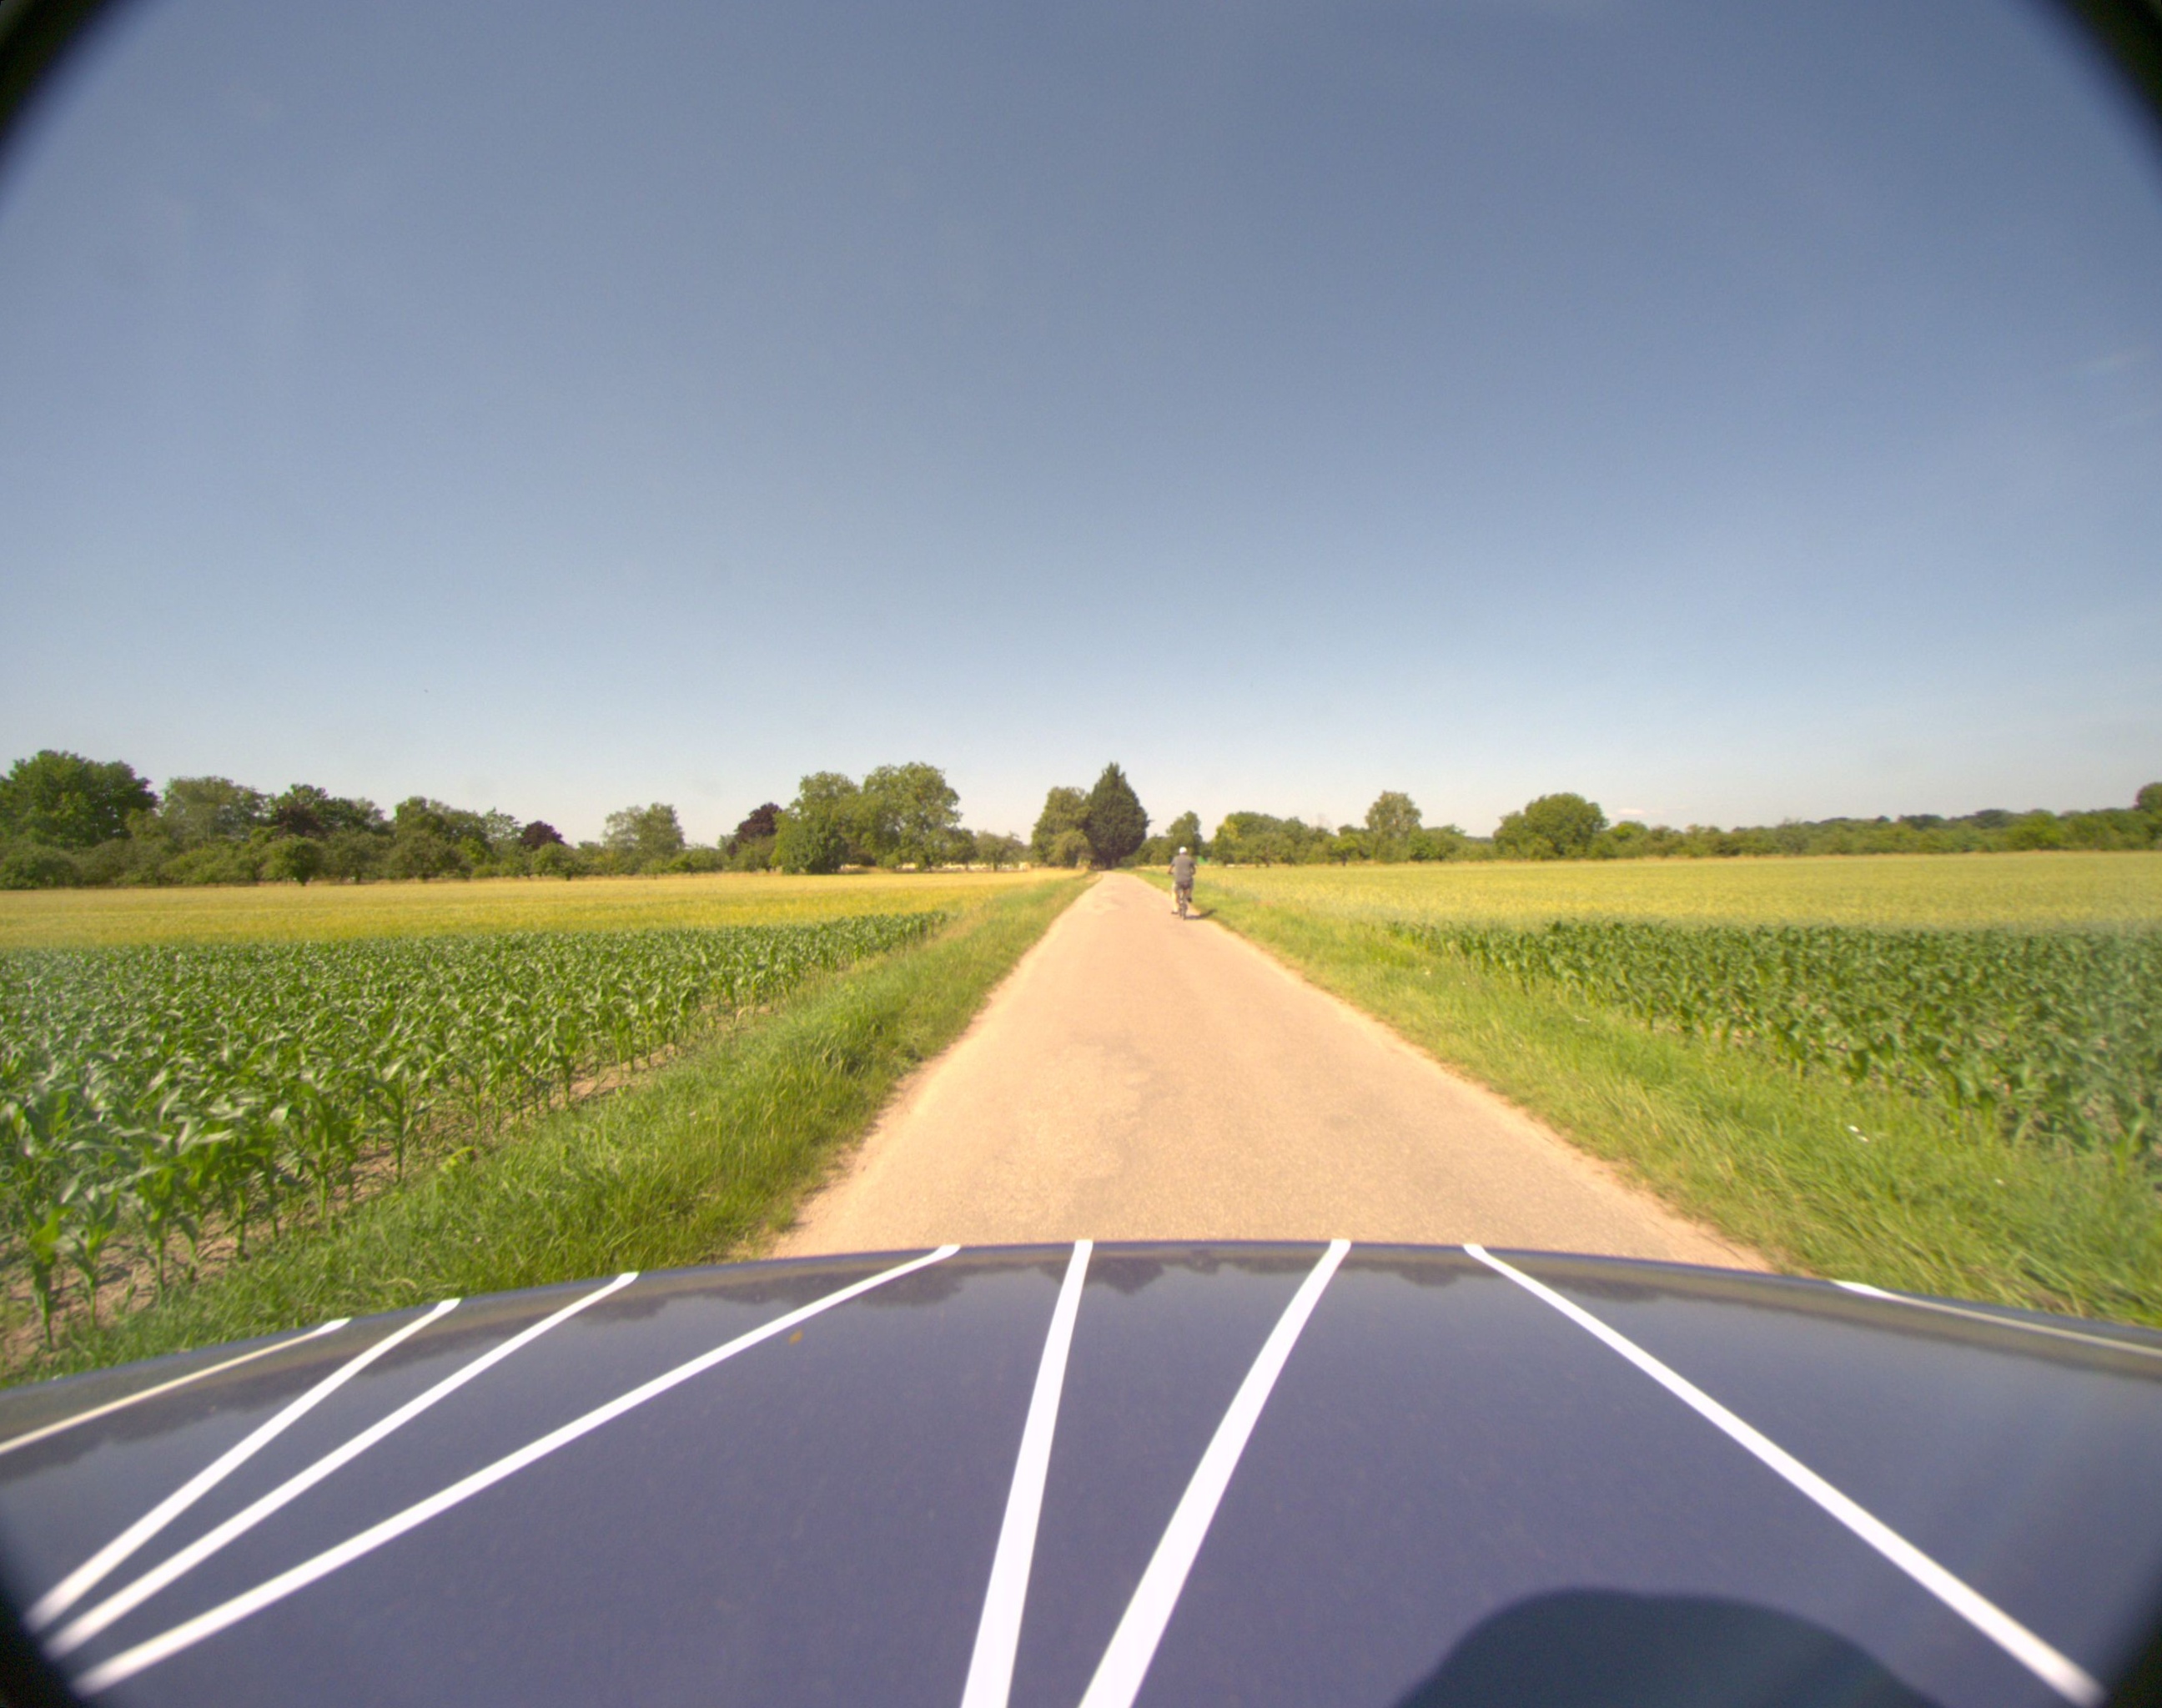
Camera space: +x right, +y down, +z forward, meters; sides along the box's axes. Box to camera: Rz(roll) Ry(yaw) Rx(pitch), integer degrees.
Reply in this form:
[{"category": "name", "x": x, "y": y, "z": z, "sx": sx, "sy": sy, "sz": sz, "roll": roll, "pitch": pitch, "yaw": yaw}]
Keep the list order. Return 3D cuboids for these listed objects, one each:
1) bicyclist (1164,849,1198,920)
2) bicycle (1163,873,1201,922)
[{"category": "bicyclist", "x": 2.542, "y": 0.759, "z": 19.339, "sx": 0.752, "sy": 1.781, "sz": 0.717, "roll": 1, "pitch": 1, "yaw": 2}, {"category": "bicycle", "x": 2.543, "y": 1.086, "z": 19.385, "sx": 0.752, "sy": 1.121, "sz": 1.908, "roll": 1, "pitch": 1, "yaw": 2}]
